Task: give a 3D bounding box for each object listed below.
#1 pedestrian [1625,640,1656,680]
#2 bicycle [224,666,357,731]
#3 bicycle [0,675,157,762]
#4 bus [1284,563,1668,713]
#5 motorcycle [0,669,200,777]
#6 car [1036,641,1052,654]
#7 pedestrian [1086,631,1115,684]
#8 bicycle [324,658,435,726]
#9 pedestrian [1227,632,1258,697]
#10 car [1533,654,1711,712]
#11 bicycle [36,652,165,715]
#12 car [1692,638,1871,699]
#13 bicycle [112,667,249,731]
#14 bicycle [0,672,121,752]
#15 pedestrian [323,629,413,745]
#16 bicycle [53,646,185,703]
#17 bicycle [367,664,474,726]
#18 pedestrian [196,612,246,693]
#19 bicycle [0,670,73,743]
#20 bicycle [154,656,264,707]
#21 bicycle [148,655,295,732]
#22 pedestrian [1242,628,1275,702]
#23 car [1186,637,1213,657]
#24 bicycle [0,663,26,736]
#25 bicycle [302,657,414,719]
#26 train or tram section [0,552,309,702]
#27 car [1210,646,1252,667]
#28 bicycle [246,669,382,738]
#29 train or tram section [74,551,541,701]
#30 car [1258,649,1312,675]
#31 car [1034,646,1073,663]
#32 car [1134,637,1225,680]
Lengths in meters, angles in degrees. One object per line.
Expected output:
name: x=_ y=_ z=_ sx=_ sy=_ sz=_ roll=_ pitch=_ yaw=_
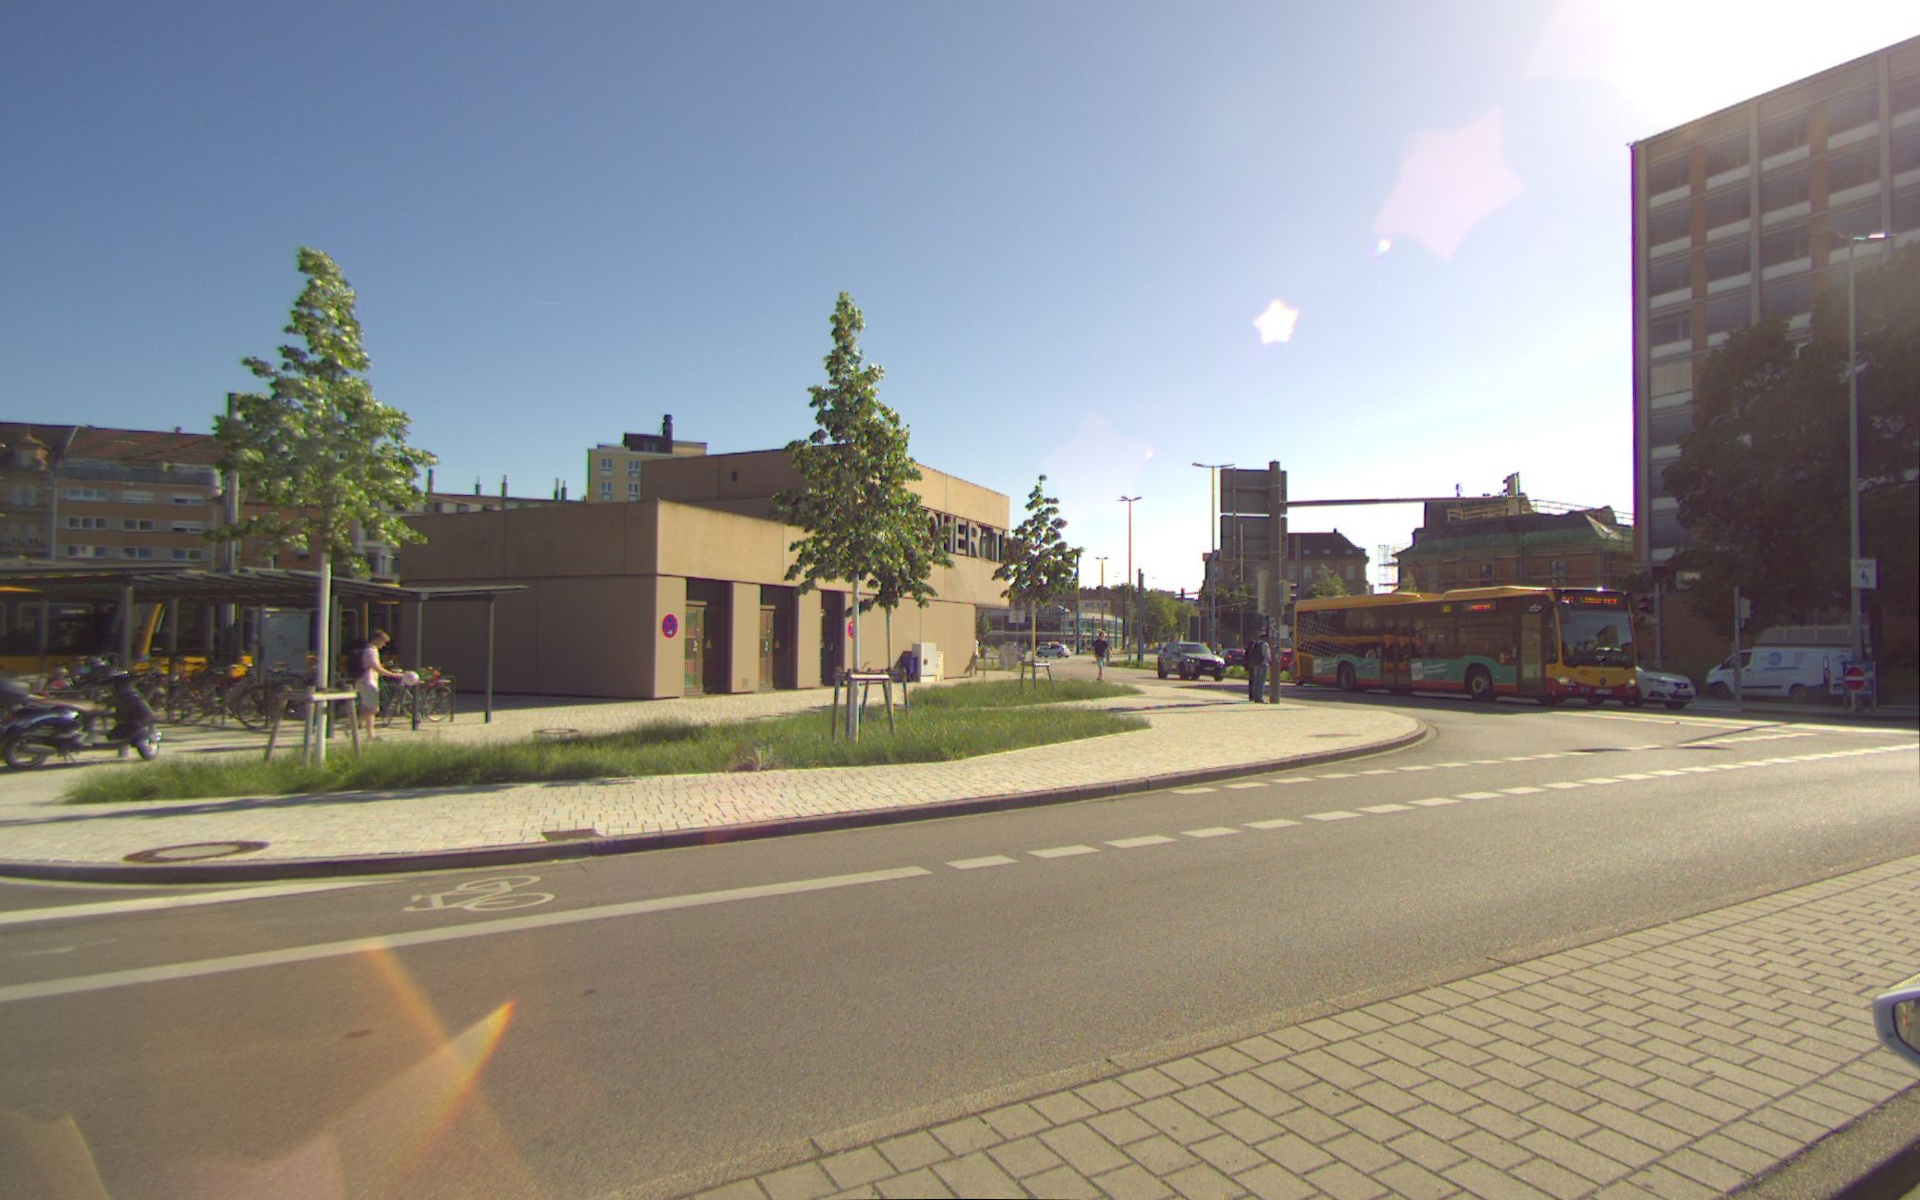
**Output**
pedestrian: x=34.920 y=3.065 z=51.568 sx=0.995 sy=2.040 sz=0.826 roll=1 pitch=-2 yaw=-3
bicycle: x=-11.626 y=1.683 z=17.500 sx=0.492 sy=1.010 sz=1.887 roll=0 pitch=-2 yaw=31
bicycle: x=-12.048 y=1.561 z=13.520 sx=0.617 sy=1.021 sz=1.829 roll=0 pitch=-2 yaw=25
bus: x=14.660 y=1.130 z=30.677 sx=3.194 sy=3.617 sz=12.434 roll=1 pitch=-2 yaw=-13
motorcycle: x=-10.930 y=1.481 z=12.475 sx=0.599 sy=1.173 sz=2.360 roll=0 pitch=-2 yaw=25
car: x=11.848 y=6.750 z=142.038 sx=1.959 sy=1.814 sz=4.003 roll=0 pitch=-2 yaw=9
pedestrian: x=4.977 y=2.029 z=35.651 sx=0.826 sy=1.869 sz=0.866 roll=1 pitch=-2 yaw=-7
bicycle: x=-10.753 y=1.679 z=18.683 sx=0.616 sy=1.161 sz=1.831 roll=0 pitch=-2 yaw=18
pedestrian: x=7.580 y=1.734 z=26.955 sx=0.594 sy=1.719 sz=0.634 roll=1 pitch=-2 yaw=-7
car: x=18.233 y=2.239 z=27.893 sx=1.730 sy=1.391 sz=3.988 roll=1 pitch=-2 yaw=-15
bicycle: x=-16.922 y=1.613 z=19.829 sx=0.617 sy=1.146 sz=1.828 roll=0 pitch=-2 yaw=27
car: x=30.203 y=2.462 z=37.171 sx=2.035 sy=2.040 sz=5.007 roll=1 pitch=-2 yaw=-10
bicycle: x=-13.876 y=1.744 z=17.937 sx=0.617 sy=1.021 sz=1.828 roll=0 pitch=-2 yaw=27
bicycle: x=-13.132 y=1.560 z=14.072 sx=0.617 sy=1.021 sz=2.026 roll=0 pitch=-2 yaw=25
pedestrian: x=-9.219 y=1.323 z=15.652 sx=1.018 sy=1.727 sz=0.828 roll=2 pitch=-2 yaw=-44
bicycle: x=-16.003 y=1.394 z=19.166 sx=0.617 sy=1.021 sz=1.828 roll=0 pitch=-2 yaw=27
bicycle: x=-9.833 y=1.713 z=18.384 sx=0.616 sy=1.021 sz=1.832 roll=0 pitch=-2 yaw=16
pedestrian: x=-17.437 y=1.240 z=23.717 sx=0.738 sy=1.880 sz=0.709 roll=1 pitch=-2 yaw=-19
bicycle: x=-14.115 y=1.552 z=14.512 sx=0.617 sy=1.021 sz=1.829 roll=0 pitch=-2 yaw=25
bicycle: x=-16.269 y=1.736 z=21.803 sx=0.617 sy=1.021 sz=1.829 roll=0 pitch=-2 yaw=25
bicycle: x=-12.899 y=1.602 z=17.629 sx=0.496 sy=1.225 sz=2.051 roll=0 pitch=-2 yaw=26
pedestrian: x=7.607 y=1.647 z=25.603 sx=0.594 sy=1.880 sz=0.681 roll=1 pitch=-2 yaw=-7
car: x=26.605 y=5.236 z=111.696 sx=2.025 sy=2.040 sz=4.001 roll=2 pitch=0 yaw=1
bicycle: x=-15.283 y=1.518 z=15.011 sx=0.617 sy=1.094 sz=1.829 roll=0 pitch=-2 yaw=25
bicycle: x=-11.757 y=1.690 z=19.689 sx=0.617 sy=1.107 sz=1.829 roll=0 pitch=-2 yaw=25
train or tram section: x=-24.176 y=0.717 z=26.336 sx=2.779 sy=3.648 sz=12.320 roll=0 pitch=-2 yaw=24
car: x=20.185 y=4.196 z=74.967 sx=1.962 sy=1.538 sz=3.818 roll=1 pitch=-2 yaw=-4
bicycle: x=-10.683 y=1.681 z=16.683 sx=0.617 sy=1.021 sz=1.828 roll=0 pitch=-2 yaw=27
train or tram section: x=-18.752 y=0.855 z=30.664 sx=2.702 sy=3.648 sz=12.318 roll=0 pitch=-2 yaw=25
car: x=20.560 y=3.925 z=63.654 sx=1.962 sy=1.538 sz=3.818 roll=1 pitch=-2 yaw=-4
car: x=10.263 y=5.947 z=110.572 sx=3.934 sy=1.795 sz=1.778 roll=-1 pitch=-2 yaw=35
car: x=10.226 y=2.688 z=47.204 sx=1.975 sy=1.885 sz=4.720 roll=1 pitch=-2 yaw=-21
